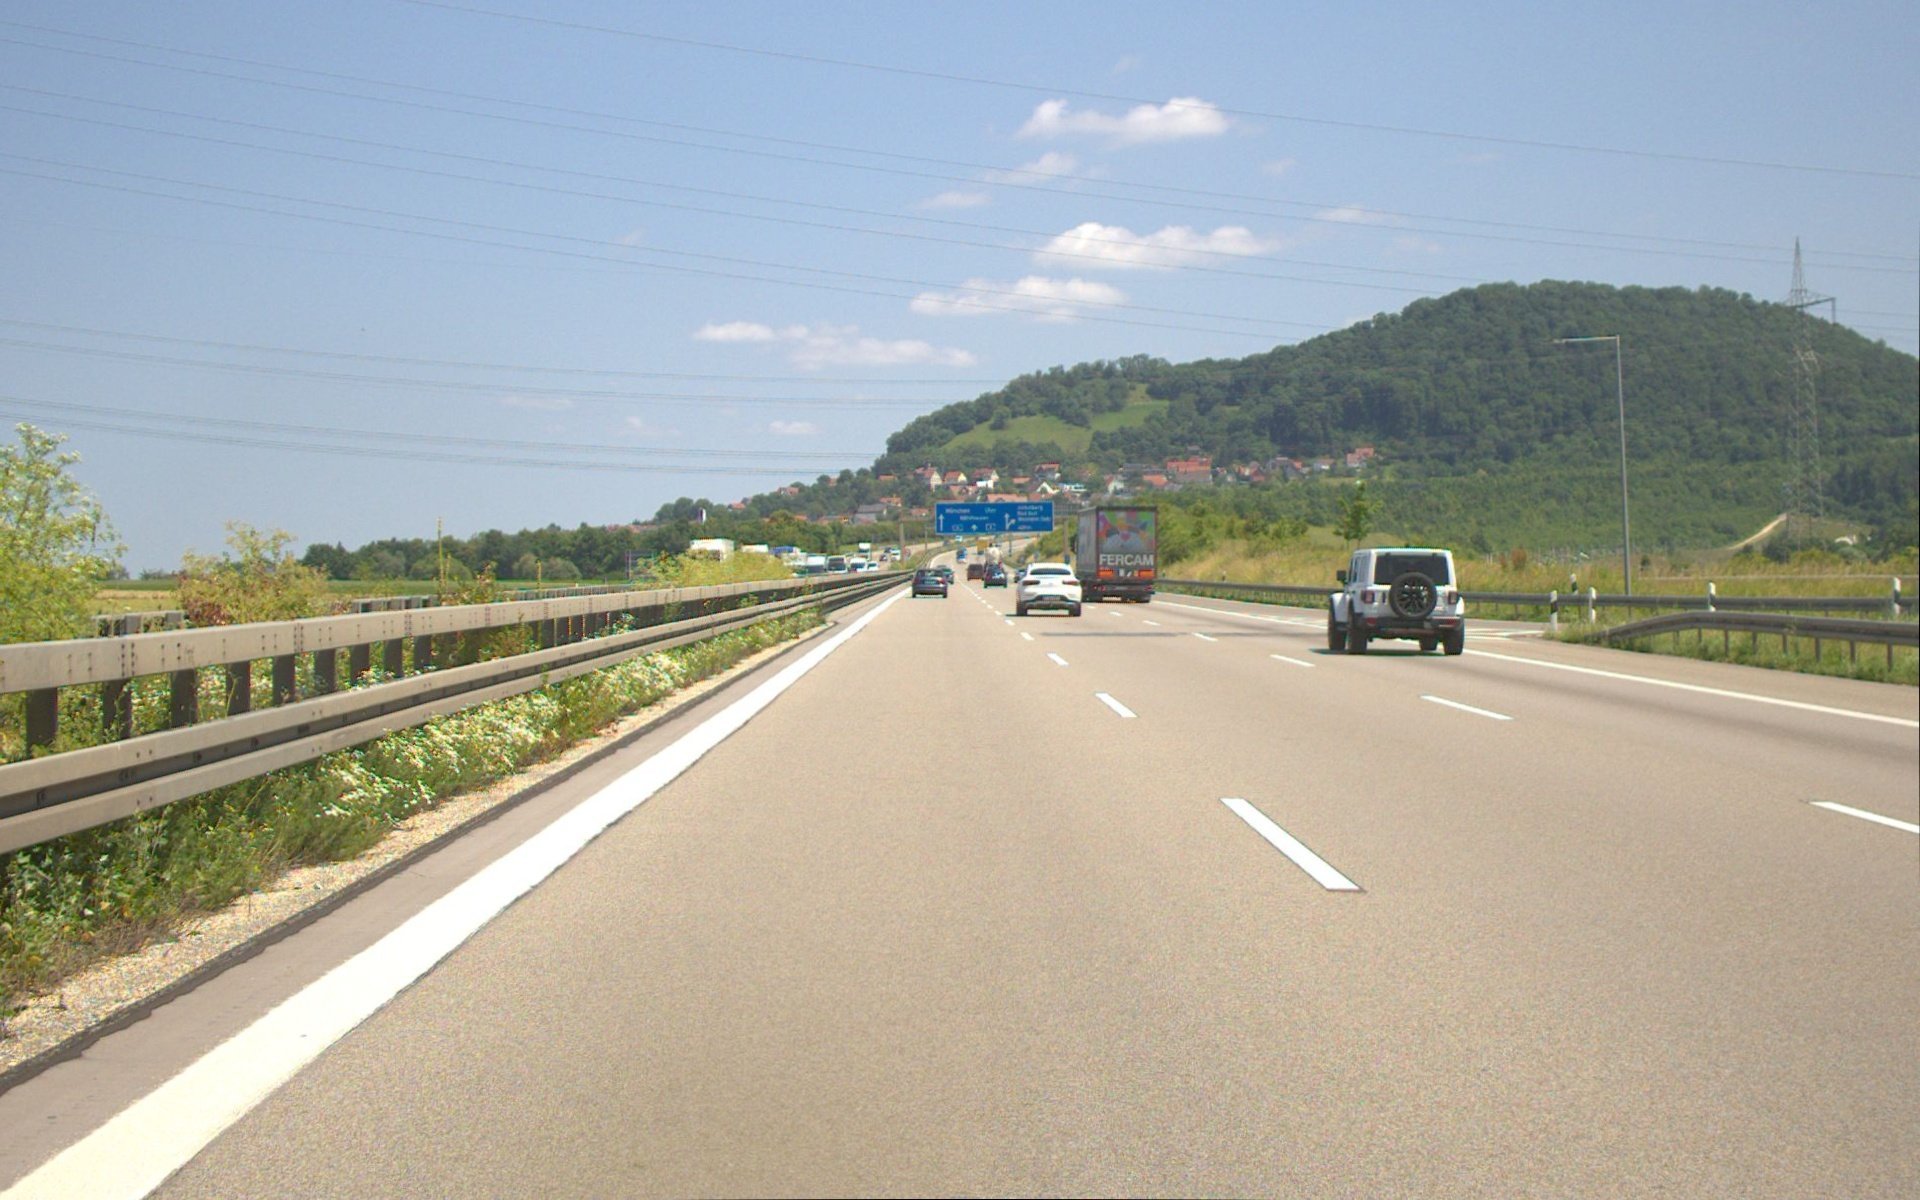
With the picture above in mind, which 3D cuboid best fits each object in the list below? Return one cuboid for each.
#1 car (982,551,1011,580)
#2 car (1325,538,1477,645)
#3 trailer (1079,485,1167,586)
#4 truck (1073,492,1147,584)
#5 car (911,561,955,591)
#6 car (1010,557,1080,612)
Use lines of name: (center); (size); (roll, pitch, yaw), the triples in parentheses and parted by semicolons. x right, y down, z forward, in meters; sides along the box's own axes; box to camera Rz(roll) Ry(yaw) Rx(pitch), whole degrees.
car: (2.594, -2.417, 244.520); (1.993, 2.007, 4.000); (1, 0, 0)
car: (7.679, -0.171, 60.285); (2.034, 1.798, 4.251); (0, 1, -1)
trailer: (6.959, -2.709, 148.175); (2.725, 4.141, 11.809); (1, 0, -2)
truck: (6.720, -2.730, 154.609); (2.752, 4.007, 6.789); (1, 0, -2)
car: (-1.252, -1.130, 162.228); (1.993, 1.384, 4.000); (1, 0, 0)
car: (2.550, -0.466, 104.541); (1.914, 1.575, 5.231); (1, 0, -1)
